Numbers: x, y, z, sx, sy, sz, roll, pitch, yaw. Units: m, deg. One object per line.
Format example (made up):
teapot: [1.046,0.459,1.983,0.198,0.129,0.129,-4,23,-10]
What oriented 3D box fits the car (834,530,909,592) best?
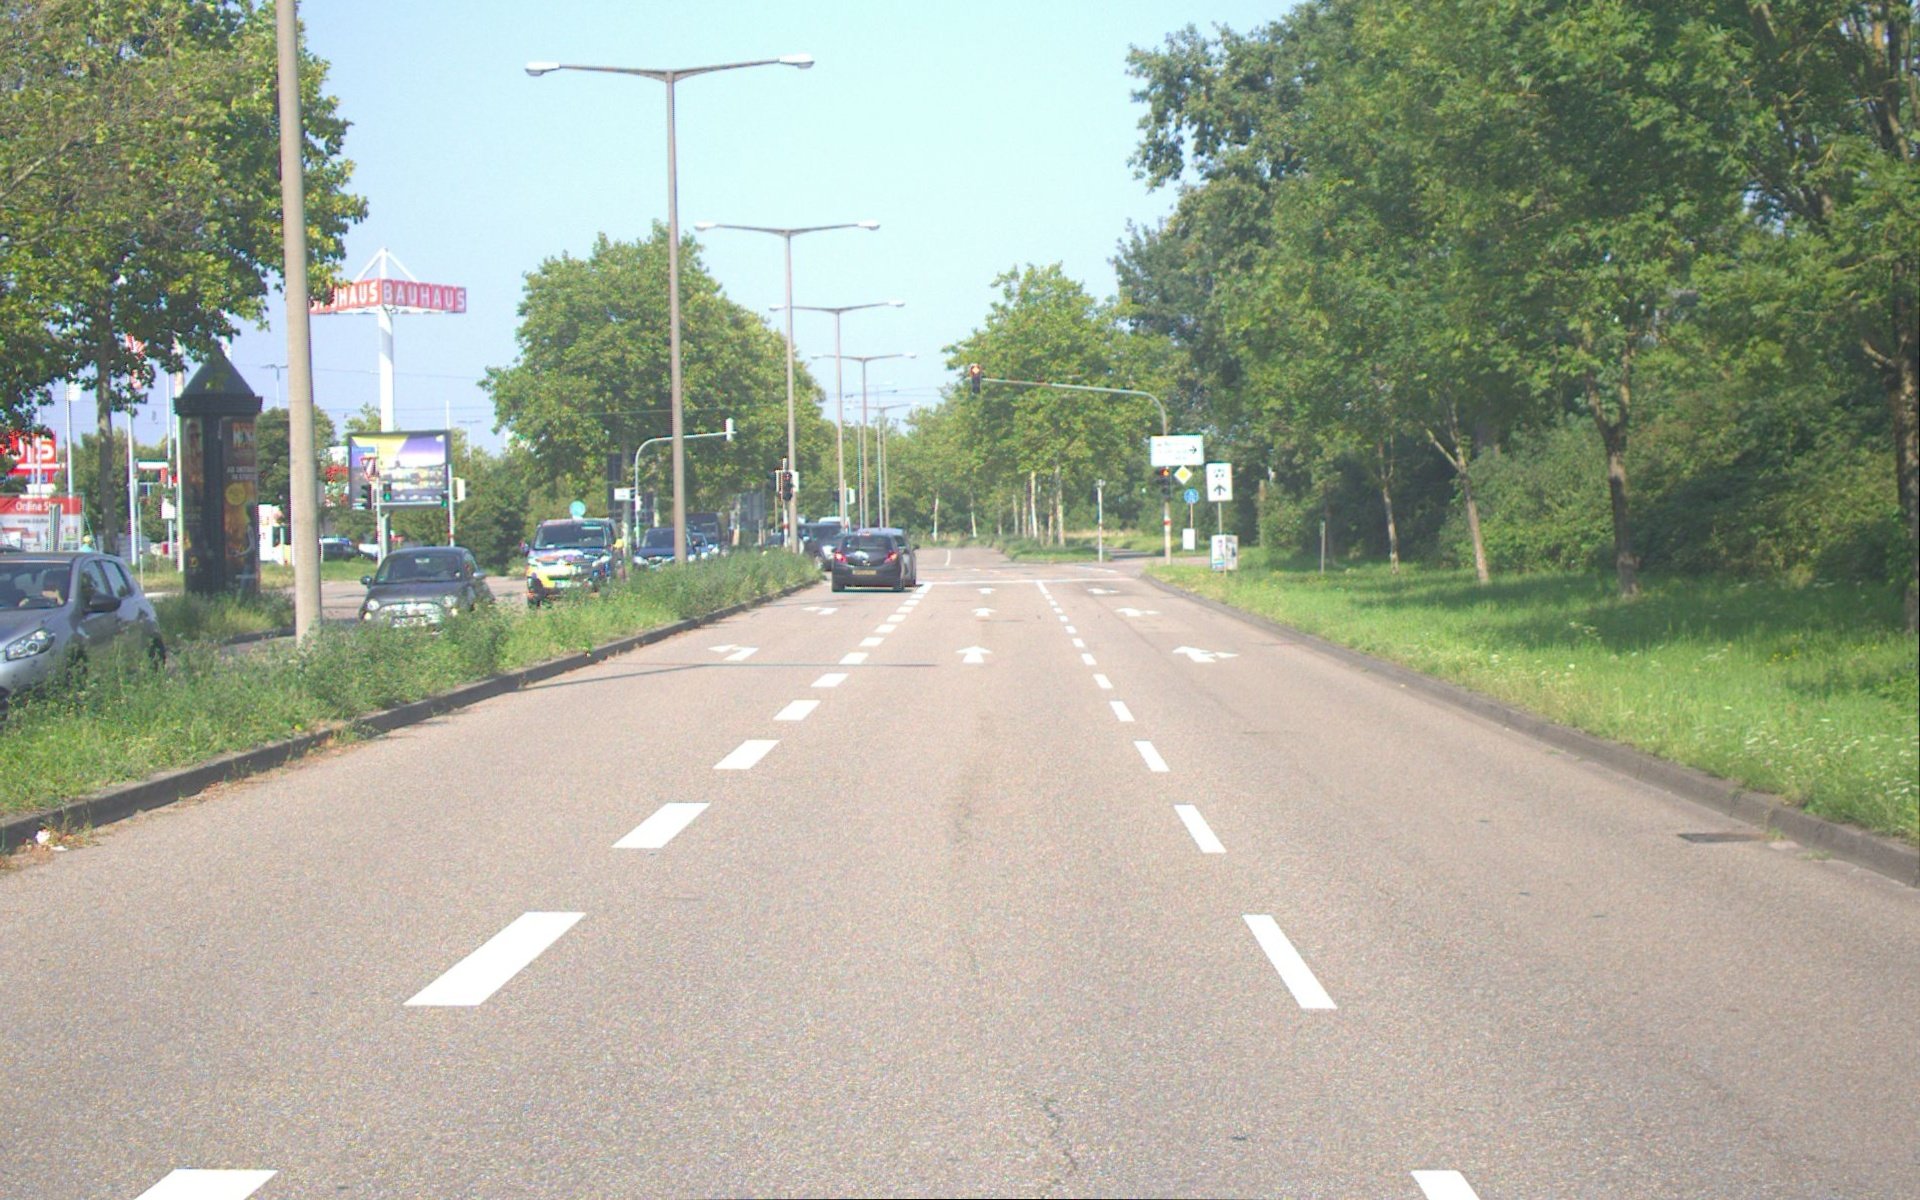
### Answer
car: [-2.148,-0.958,84.163,1.692,1.481,4.000,0,1,1]

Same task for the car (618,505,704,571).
car: [-8.504,-1.769,98.160,1.993,1.700,4.505,-4,1,-1]

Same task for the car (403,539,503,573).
car: [-18.903,-1.649,128.235,3.376,1.133,1.493,-2,1,9]

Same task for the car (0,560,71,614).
car: [-25.816,-0.349,91.889,3.691,1.438,1.466,-1,1,-35]

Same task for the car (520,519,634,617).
car: [-8.294,-0.722,74.716,1.932,2.021,4.567,-1,1,0]

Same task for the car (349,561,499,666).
car: [-7.889,0.170,50.814,1.676,1.481,3.493,0,1,0]

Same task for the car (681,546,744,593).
car: [-8.333,-1.044,116.179,1.773,1.568,4.000,0,1,1]

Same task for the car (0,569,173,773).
car: [-8.226,0.571,29.619,1.879,1.588,4.108,-2,1,1]

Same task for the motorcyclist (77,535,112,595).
motorcyclist: [-22.772,-0.929,90.419,0.681,1.566,0.683,-1,1,-35]
